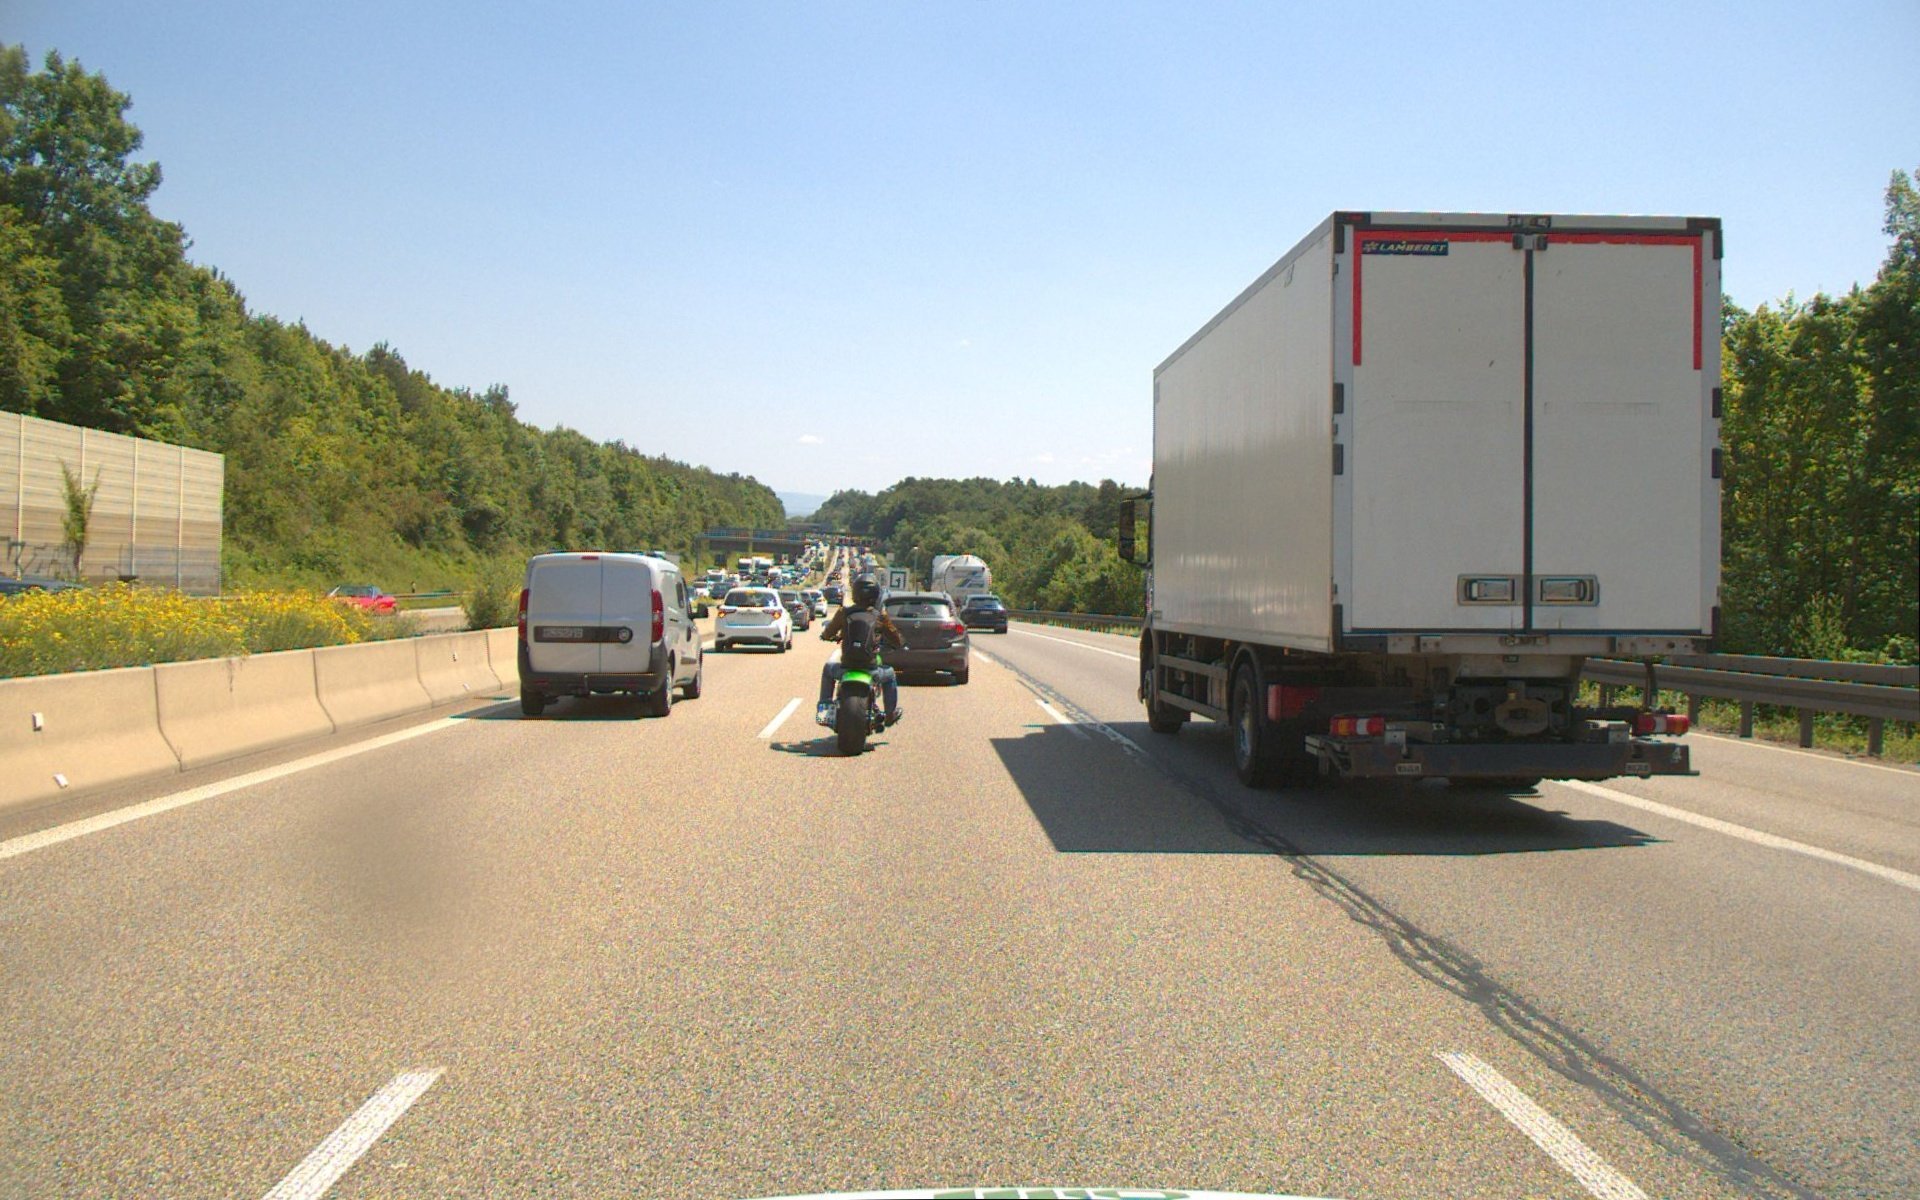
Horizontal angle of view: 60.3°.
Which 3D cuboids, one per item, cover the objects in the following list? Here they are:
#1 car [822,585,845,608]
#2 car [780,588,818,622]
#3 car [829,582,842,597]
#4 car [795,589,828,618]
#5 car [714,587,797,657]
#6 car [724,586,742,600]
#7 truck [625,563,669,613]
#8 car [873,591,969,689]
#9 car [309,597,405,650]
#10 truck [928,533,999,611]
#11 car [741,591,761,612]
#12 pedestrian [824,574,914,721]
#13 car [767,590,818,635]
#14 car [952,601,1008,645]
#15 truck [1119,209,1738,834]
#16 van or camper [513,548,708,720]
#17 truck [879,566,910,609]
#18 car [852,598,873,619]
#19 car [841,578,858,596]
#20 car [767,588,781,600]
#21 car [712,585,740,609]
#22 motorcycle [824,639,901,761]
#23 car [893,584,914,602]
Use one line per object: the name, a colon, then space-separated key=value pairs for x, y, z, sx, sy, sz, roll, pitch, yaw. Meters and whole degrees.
car: x=-11.036 y=-0.319 z=144.023 sx=1.843 sy=1.892 sz=3.997 roll=3 pitch=0 yaw=-4
car: x=-7.922 y=0.222 z=81.556 sx=1.666 sy=1.504 sz=3.997 roll=3 pitch=0 yaw=-4
car: x=-17.947 y=-1.489 z=238.619 sx=1.891 sy=2.049 sz=3.997 roll=1 pitch=0 yaw=-3
car: x=-8.314 y=0.165 z=92.792 sx=1.666 sy=1.504 sz=3.997 roll=3 pitch=0 yaw=-4
car: x=-4.856 y=0.480 z=39.676 sx=1.666 sy=1.504 sz=3.997 roll=3 pitch=0 yaw=-4
car: x=-32.214 y=-0.993 z=234.601 sx=2.184 sy=2.049 sz=5.807 roll=1 pitch=0 yaw=-4
truck: x=-25.819 y=-0.958 z=136.807 sx=2.758 sy=3.976 sz=7.308 roll=1 pitch=0 yaw=-5
car: x=-0.707 y=0.621 z=28.124 sx=1.502 sy=1.536 sz=3.998 roll=1 pitch=0 yaw=-3
car: x=-19.849 y=0.763 z=54.628 sx=1.704 sy=1.668 sz=4.186 roll=1 pitch=0 yaw=-2
truck: x=0.091 y=-1.327 z=85.057 sx=2.929 sy=3.735 sz=9.280 roll=1 pitch=0 yaw=-4
car: x=-20.457 y=0.118 z=161.963 sx=1.729 sy=2.049 sz=3.996 roll=1 pitch=0 yaw=-5
pedestrian: x=-0.891 y=0.453 z=16.224 sx=0.832 sy=1.385 sz=0.961 roll=1 pitch=0 yaw=-3
car: x=-6.068 y=0.426 z=60.306 sx=1.666 sy=1.504 sz=3.997 roll=3 pitch=0 yaw=-4
car: x=0.753 y=0.871 z=64.775 sx=1.793 sy=1.496 sz=3.997 roll=4 pitch=0 yaw=-4
truck: x=3.457 y=-0.511 z=15.389 sx=2.634 sy=3.944 sz=9.775 roll=0 pitch=0 yaw=-2
van or camper: x=-4.256 y=0.394 z=20.749 sx=1.760 sy=1.925 sz=4.157 roll=1 pitch=0 yaw=-3
truck: x=-7.636 y=-1.452 z=191.710 sx=2.974 sy=4.621 sz=9.975 roll=4 pitch=0 yaw=-4
car: x=-6.926 y=0.608 z=117.718 sx=1.364 sy=1.489 sz=2.778 roll=1 pitch=0 yaw=-2
car: x=-12.736 y=-1.474 z=190.534 sx=1.767 sy=2.049 sz=3.995 roll=1 pitch=0 yaw=-6
car: x=-24.839 y=-0.857 z=221.174 sx=1.677 sy=1.564 sz=4.124 roll=1 pitch=0 yaw=-5
car: x=-17.328 y=-0.261 z=122.565 sx=1.650 sy=1.728 sz=4.656 roll=1 pitch=0 yaw=-3
motorcycle: x=-0.934 y=0.931 z=16.057 sx=0.677 sy=1.033 sz=2.120 roll=1 pitch=0 yaw=-3
car: x=-5.361 y=-0.688 z=156.948 sx=1.752 sy=1.582 sz=3.800 roll=3 pitch=0 yaw=-4
